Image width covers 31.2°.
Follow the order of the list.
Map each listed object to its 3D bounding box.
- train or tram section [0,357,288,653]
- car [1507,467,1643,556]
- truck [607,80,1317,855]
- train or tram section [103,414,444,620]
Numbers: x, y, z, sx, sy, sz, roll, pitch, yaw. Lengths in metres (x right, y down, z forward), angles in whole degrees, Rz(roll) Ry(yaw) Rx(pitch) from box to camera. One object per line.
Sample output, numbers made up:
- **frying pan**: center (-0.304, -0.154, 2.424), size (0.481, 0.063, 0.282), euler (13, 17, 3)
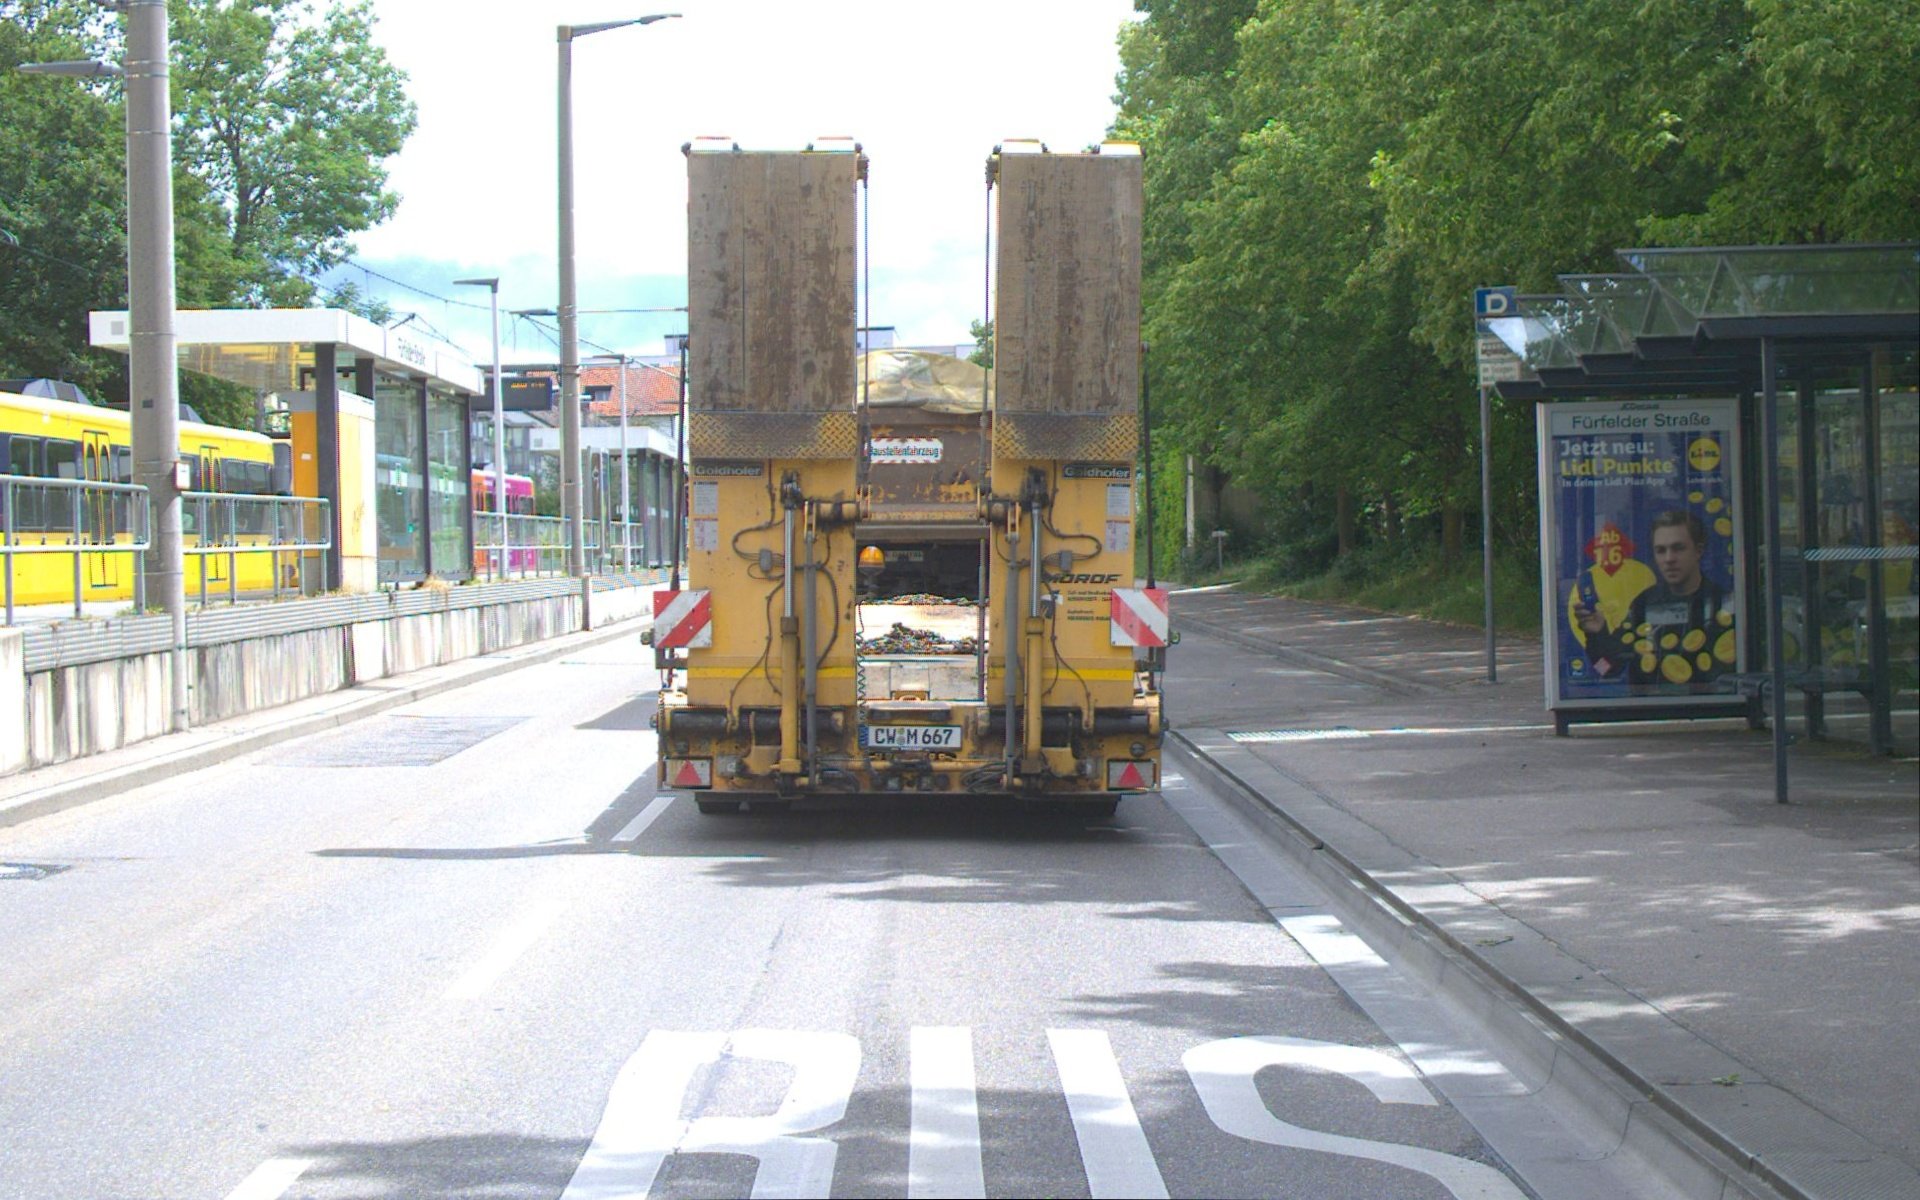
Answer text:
- **train or tram section**: center (-12.856, -1.255, 48.862), size (3.108, 3.453, 18.998), euler (1, 1, -1)
- **car**: center (11.441, -1.623, 64.174), size (1.715, 1.502, 4.160), euler (-4, 1, 0)
- **truck**: center (-0.336, -0.763, 23.593), size (3.402, 3.719, 13.740), euler (-1, 1, -3)
- **train or tram section**: center (-13.100, -1.554, 67.949), size (3.108, 3.453, 19.200), euler (1, 1, -1)
